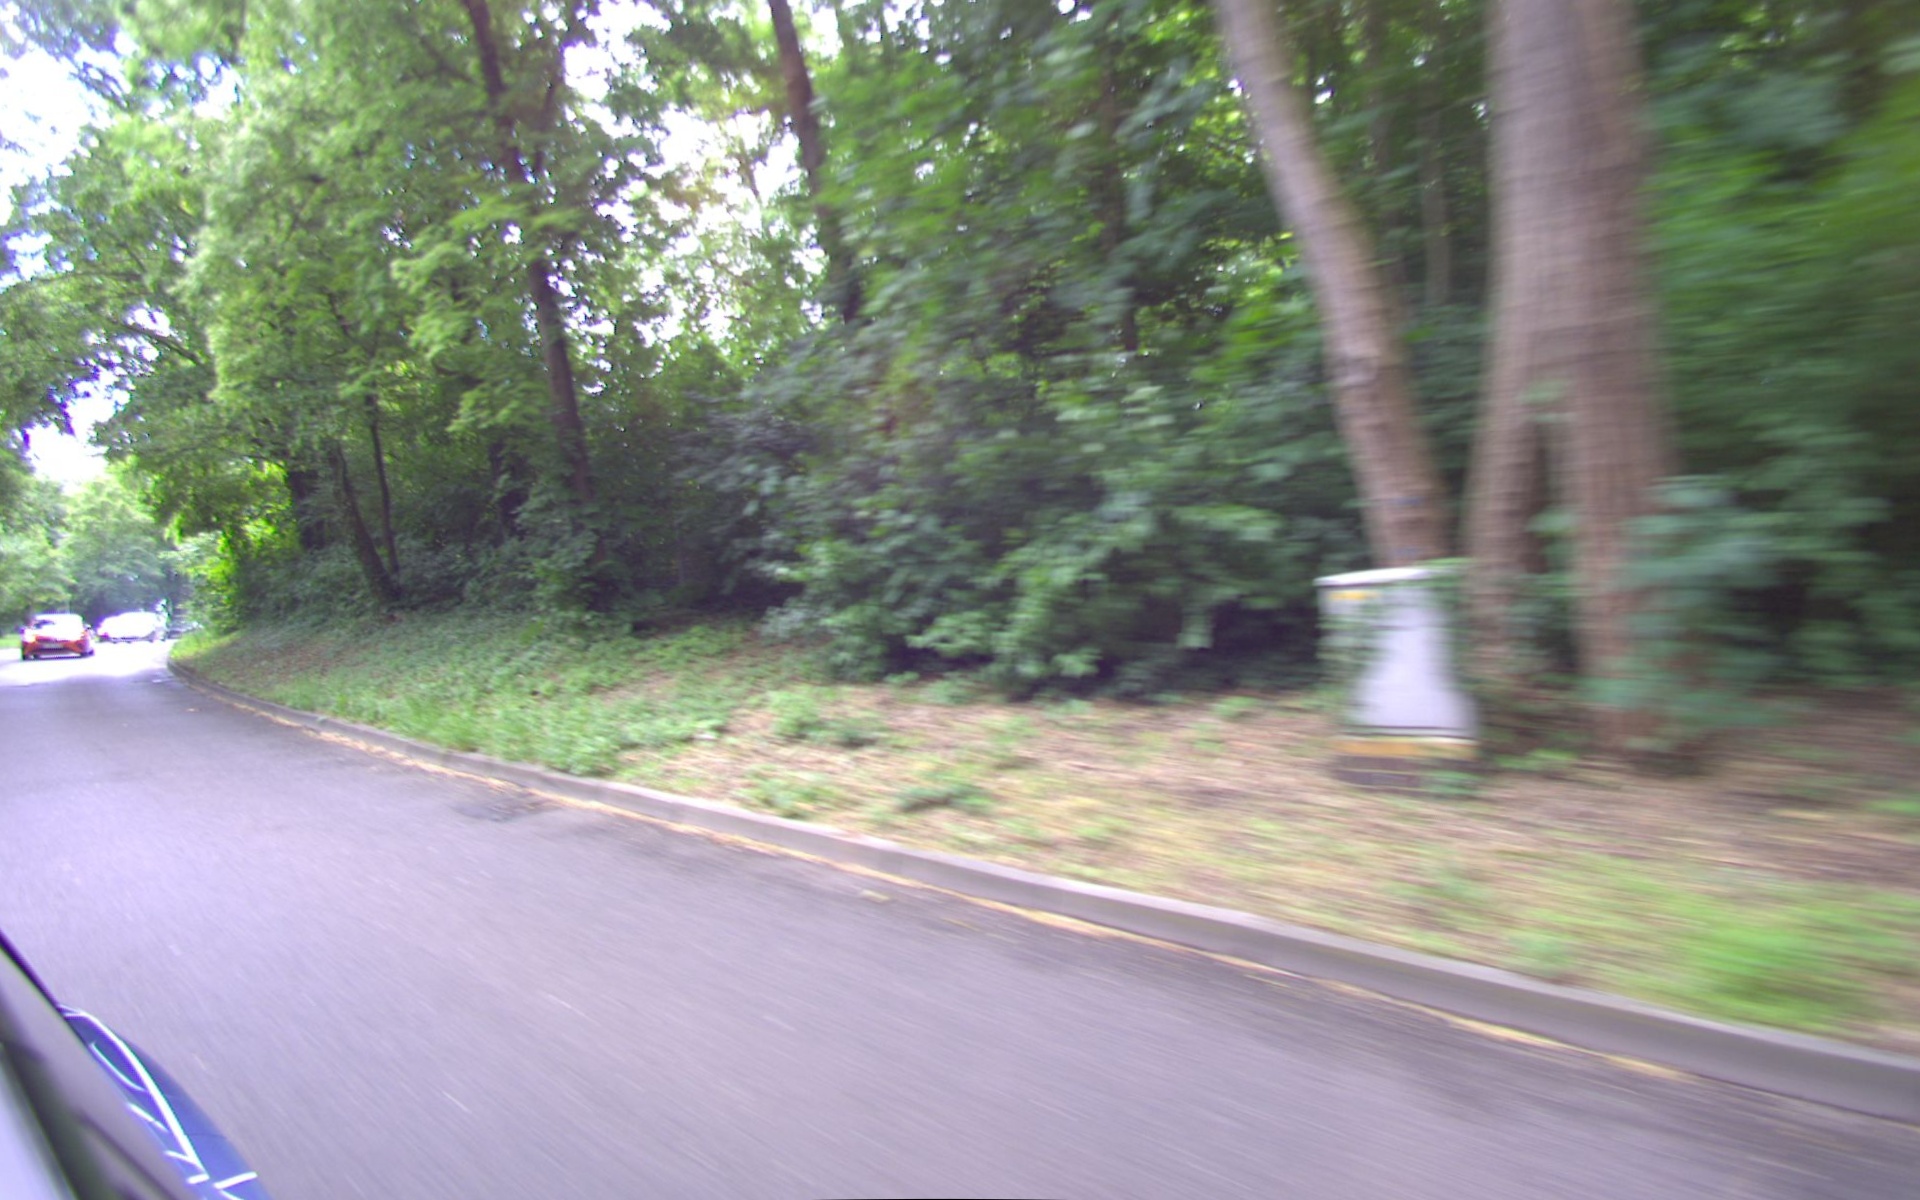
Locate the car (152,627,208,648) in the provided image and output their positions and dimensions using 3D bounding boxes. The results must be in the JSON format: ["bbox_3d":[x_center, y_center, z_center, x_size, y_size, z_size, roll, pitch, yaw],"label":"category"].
[{"bbox_3d":[-54.682,2.583,71.047,1.687,1.265,4.692,-3,0,-20],"label":"car"}]

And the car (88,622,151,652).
[{"bbox_3d":[-50.710,2.205,61.161,1.686,1.563,4.692,-3,0,-24],"label":"car"}]

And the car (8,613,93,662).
[{"bbox_3d":[-31.118,1.259,34.739,1.928,1.483,4.685,-3,1,-39],"label":"car"}]

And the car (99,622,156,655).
[{"bbox_3d":[-44.336,2.052,53.890,4.043,1.580,1.633,-2,1,41],"label":"car"}]

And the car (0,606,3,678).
[{"bbox_3d":[-21.100,0.941,20.491,1.973,1.620,4.687,-3,1,-37],"label":"car"}]
